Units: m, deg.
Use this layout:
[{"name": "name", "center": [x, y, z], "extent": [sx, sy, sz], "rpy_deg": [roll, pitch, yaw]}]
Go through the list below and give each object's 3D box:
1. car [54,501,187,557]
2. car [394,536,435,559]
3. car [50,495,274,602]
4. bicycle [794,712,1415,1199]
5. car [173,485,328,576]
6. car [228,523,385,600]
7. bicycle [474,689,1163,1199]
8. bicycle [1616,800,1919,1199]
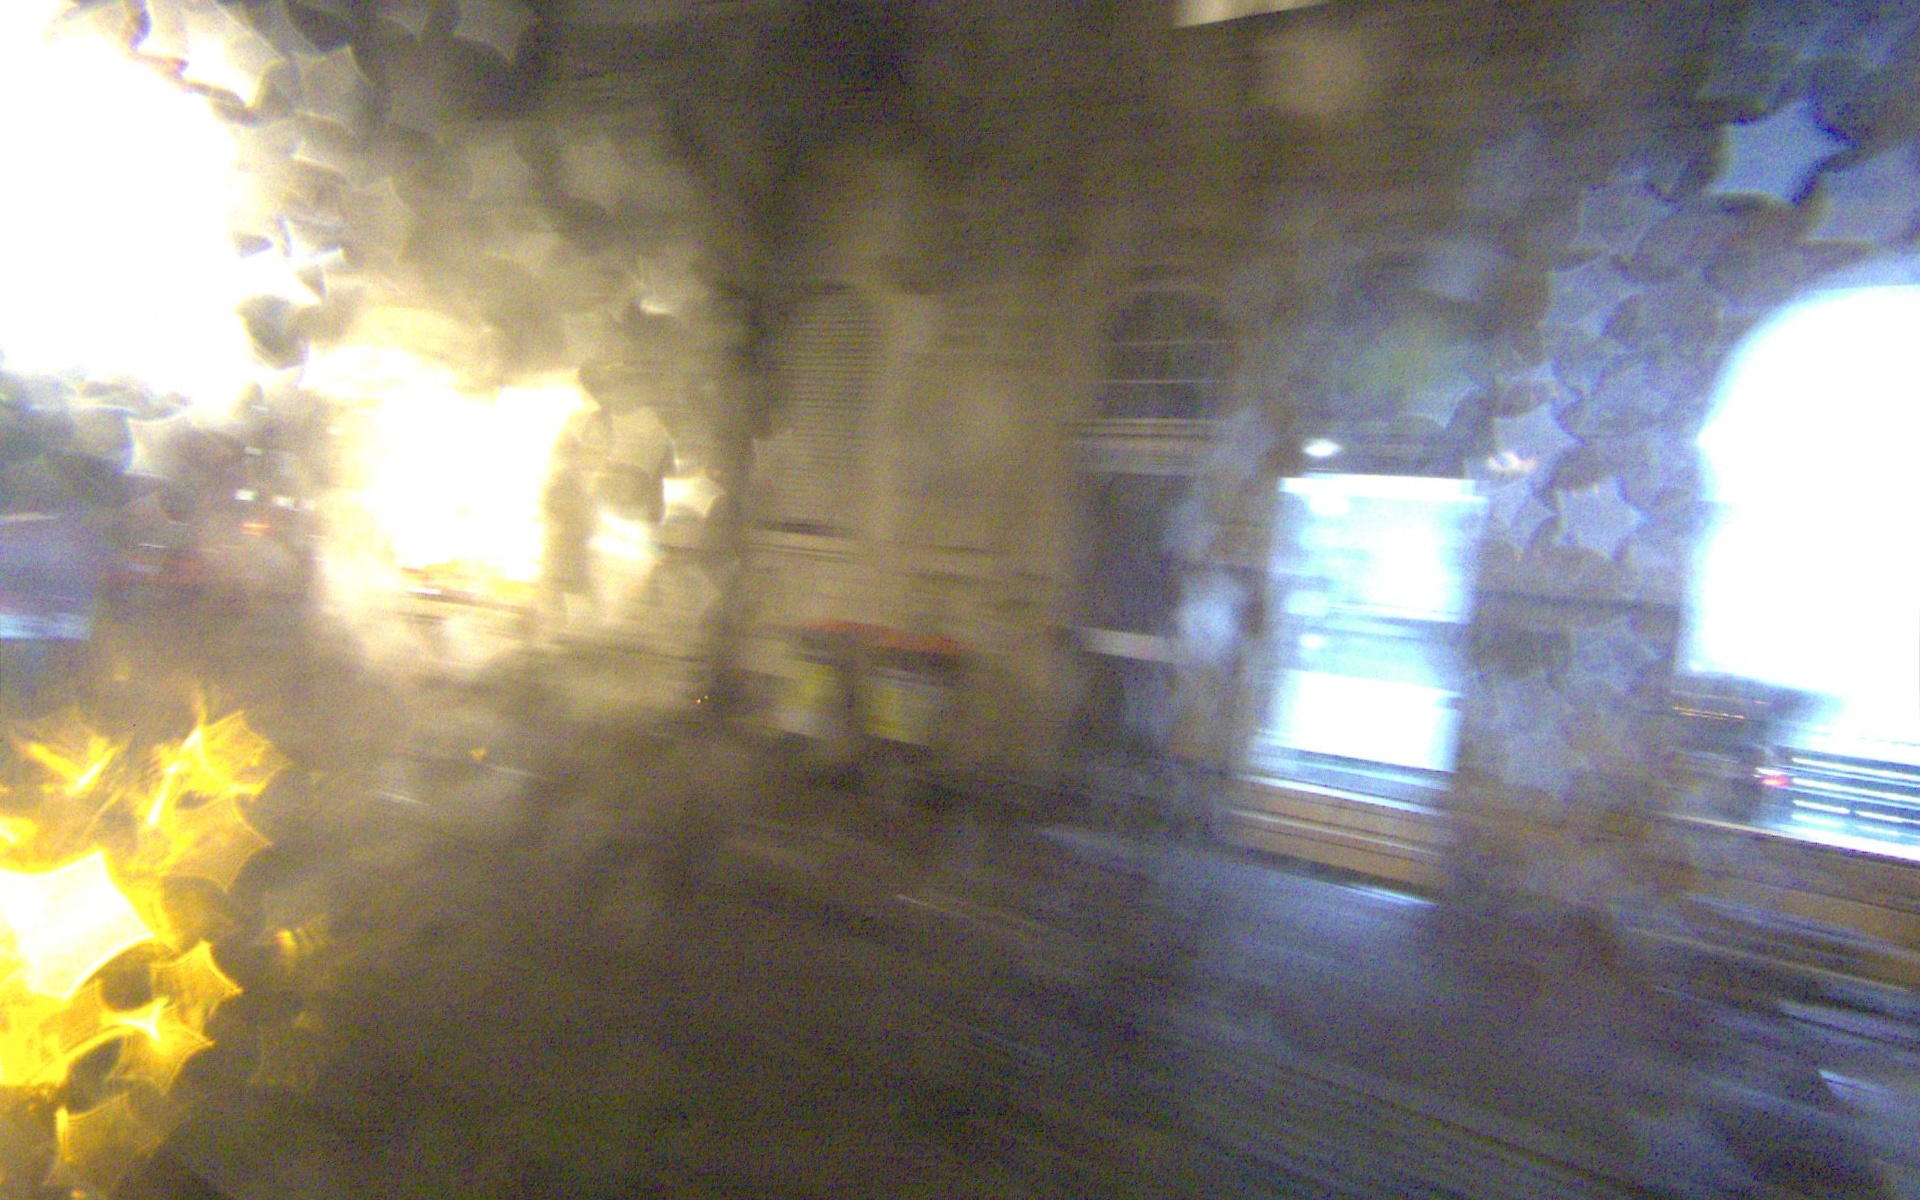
[{"name": "car", "center": [-35.400, -2.934, 42.647], "extent": [1.970, 1.847, 5.292], "rpy_deg": [10, 0, -13]}, {"name": "car", "center": [-43.918, -4.201, 81.043], "extent": [1.647, 1.402, 3.993], "rpy_deg": [9, -2, -12]}, {"name": "car", "center": [-13.504, -0.831, 17.292], "extent": [1.625, 1.545, 3.570], "rpy_deg": [3, 1, -14]}, {"name": "bicycle", "center": [0.534, 0.864, 2.435], "extent": [0.632, 1.047, 1.969], "rpy_deg": [7, 0, 34]}, {"name": "car", "center": [-23.450, -2.194, 33.569], "extent": [2.190, 2.471, 5.368], "rpy_deg": [8, 0, -14]}, {"name": "car", "center": [-14.332, -0.819, 22.328], "extent": [1.623, 1.461, 4.044], "rpy_deg": [3, 1, -14]}, {"name": "bicycle", "center": [-0.170, 0.799, 2.752], "extent": [0.632, 1.019, 1.969], "rpy_deg": [7, 0, 34]}, {"name": "bicycle", "center": [1.509, 0.992, 1.654], "extent": [0.632, 1.019, 1.969], "rpy_deg": [7, 0, 34]}]
